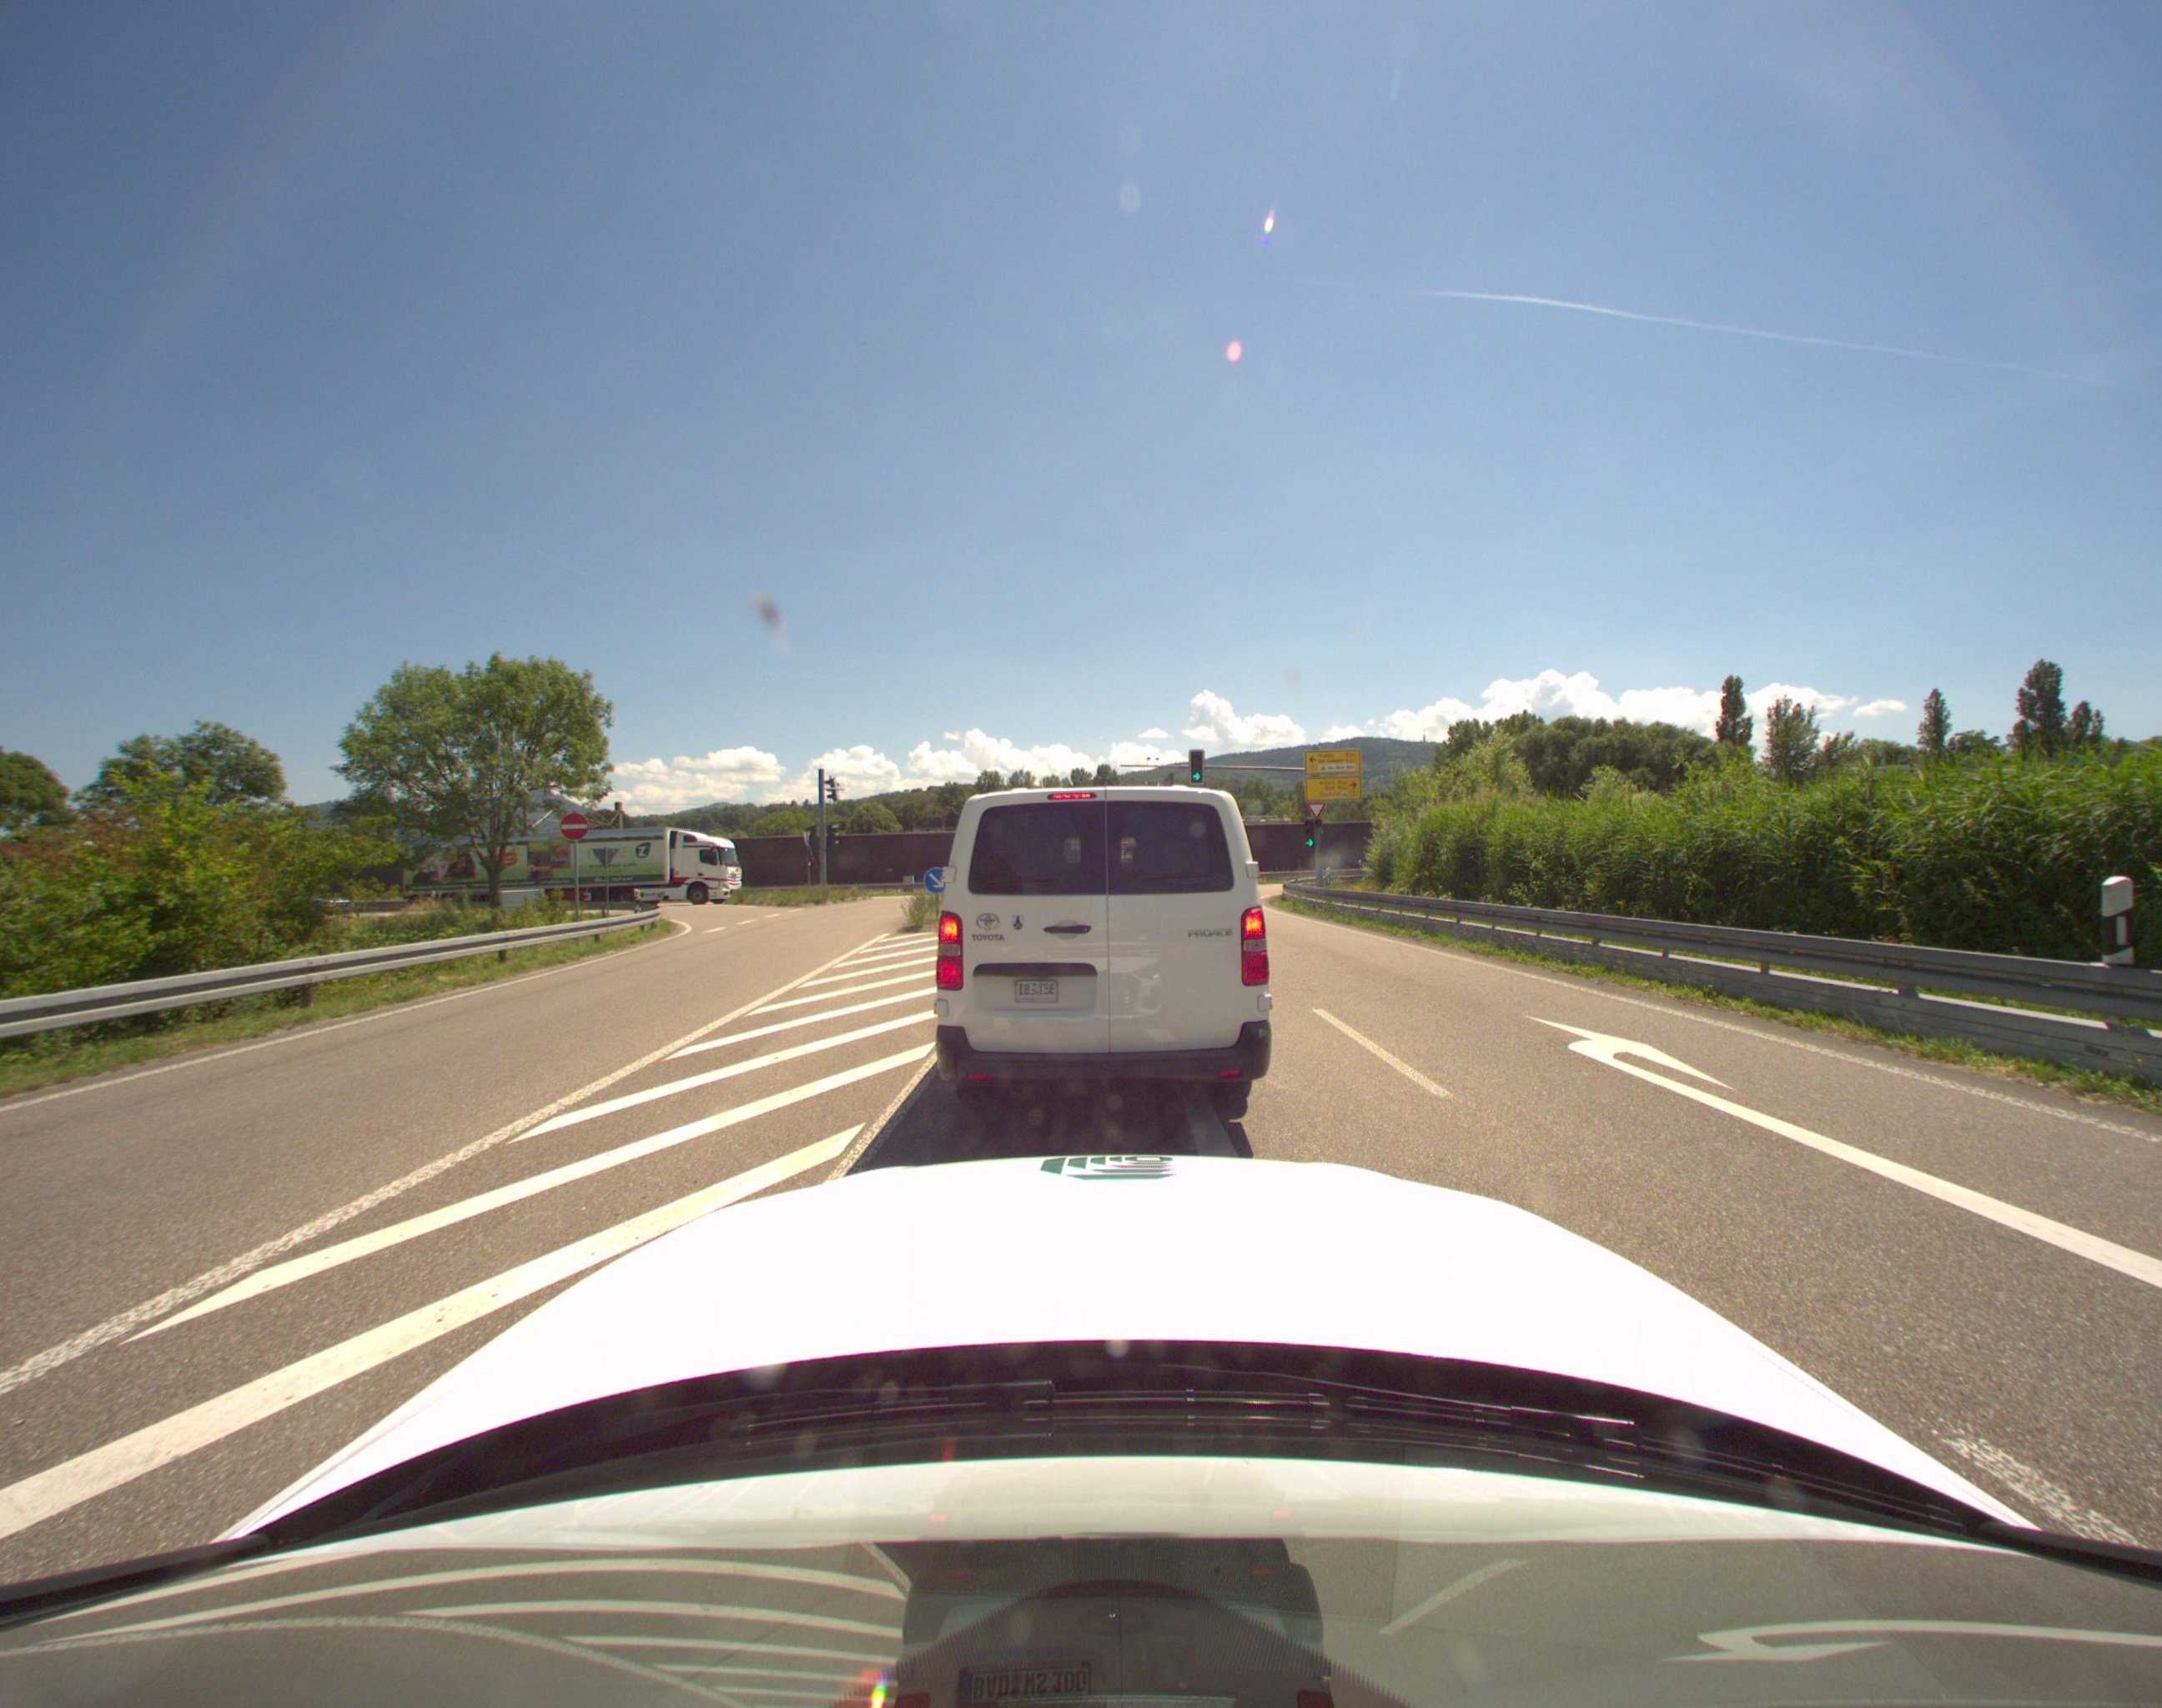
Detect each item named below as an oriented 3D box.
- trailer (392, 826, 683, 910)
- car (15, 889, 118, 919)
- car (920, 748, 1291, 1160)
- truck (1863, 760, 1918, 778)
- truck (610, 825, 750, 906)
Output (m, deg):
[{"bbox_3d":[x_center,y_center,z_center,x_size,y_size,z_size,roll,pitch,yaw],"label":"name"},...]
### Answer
[{"bbox_3d":[-28.221,0.734,42.732,13.098,3.954,3.061,-1,-1,0],"label":"trailer"},{"bbox_3d":[-53.902,2.648,43.302,3.462,1.464,1.554,-1,-1,0],"label":"car"},{"bbox_3d":[0.179,0.512,6.054,1.808,2.017,4.001,-1,-1,2],"label":"car"},{"bbox_3d":[132.193,-13.851,133.106,2.609,2.228,6.666,-1,-1,2],"label":"truck"},{"bbox_3d":[-20.963,0.595,42.788,5.746,3.954,3.062,-1,-1,0],"label":"truck"}]
